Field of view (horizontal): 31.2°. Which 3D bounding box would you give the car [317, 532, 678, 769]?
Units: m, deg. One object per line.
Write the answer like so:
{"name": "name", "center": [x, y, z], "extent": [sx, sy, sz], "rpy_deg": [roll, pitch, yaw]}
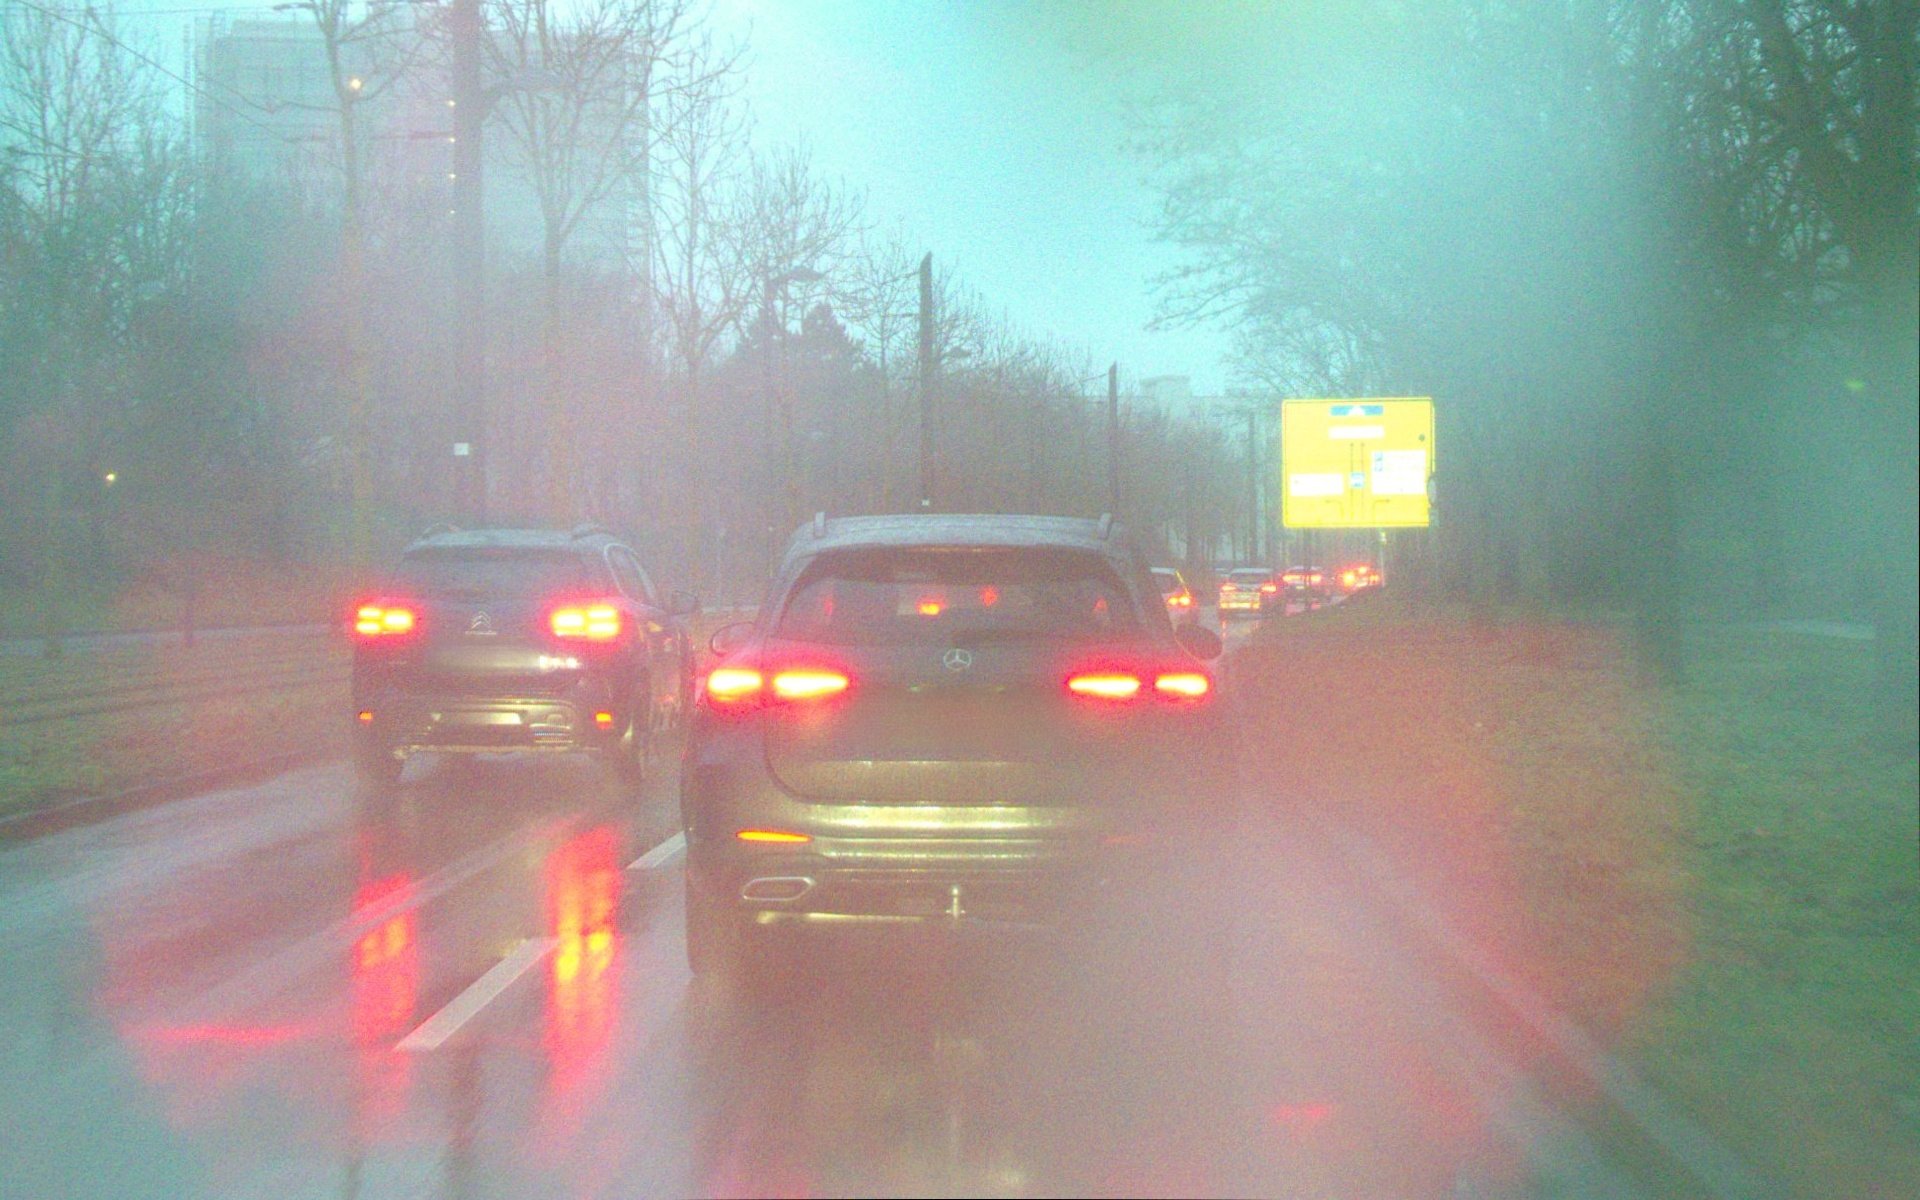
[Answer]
{"name": "car", "center": [-3.029, 0.277, 23.302], "extent": [1.880, 1.454, 4.000], "rpy_deg": [0, 1, 0]}

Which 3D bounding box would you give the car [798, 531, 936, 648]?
{"name": "car", "center": [-1.317, -0.184, 49.035], "extent": [1.880, 1.588, 4.000], "rpy_deg": [0, 1, -1]}

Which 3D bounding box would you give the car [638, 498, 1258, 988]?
{"name": "car", "center": [-0.085, 0.431, 13.141], "extent": [1.998, 1.578, 4.000], "rpy_deg": [0, 1, -1]}

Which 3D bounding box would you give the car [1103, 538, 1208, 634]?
{"name": "car", "center": [3.271, -0.248, 58.118], "extent": [1.709, 1.552, 3.996], "rpy_deg": [0, 0, 3]}
